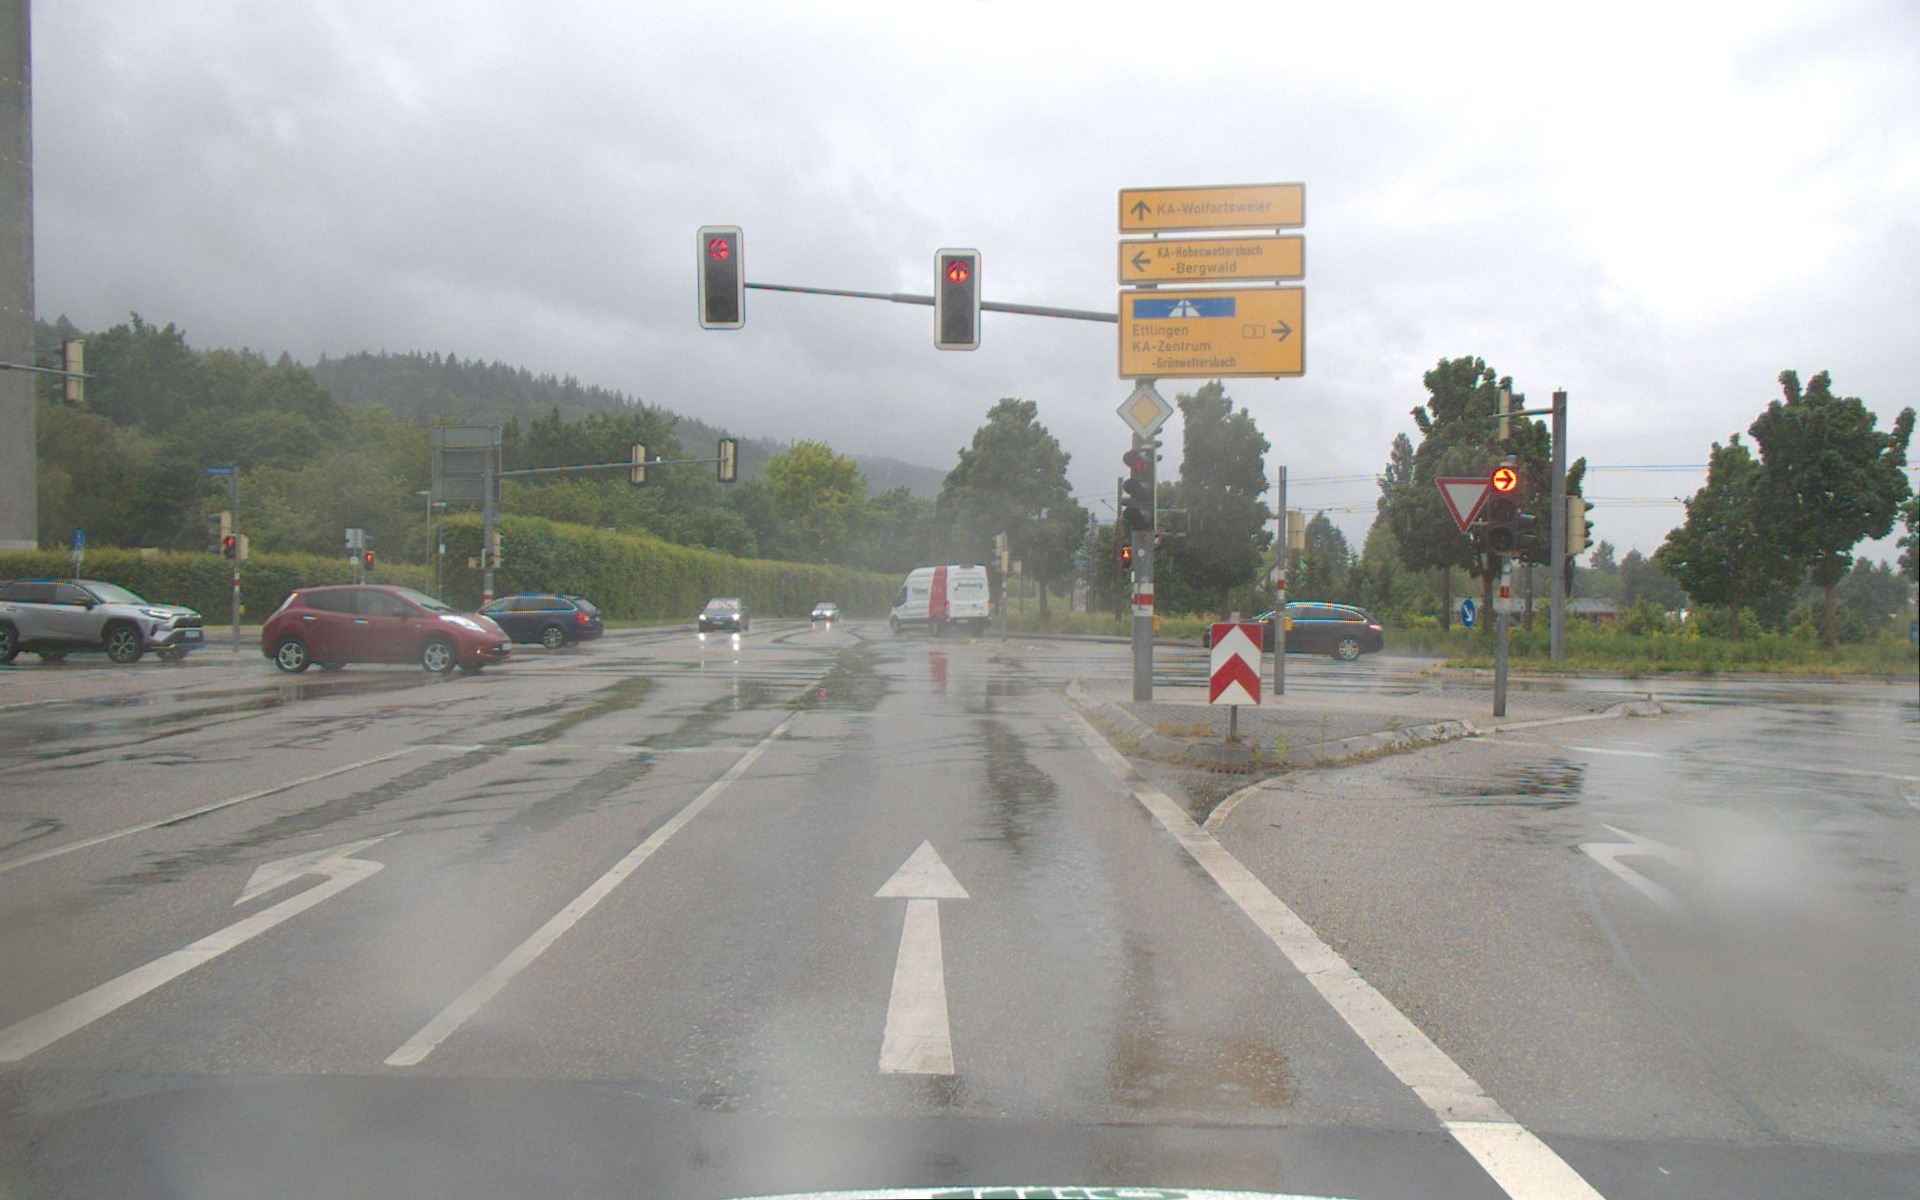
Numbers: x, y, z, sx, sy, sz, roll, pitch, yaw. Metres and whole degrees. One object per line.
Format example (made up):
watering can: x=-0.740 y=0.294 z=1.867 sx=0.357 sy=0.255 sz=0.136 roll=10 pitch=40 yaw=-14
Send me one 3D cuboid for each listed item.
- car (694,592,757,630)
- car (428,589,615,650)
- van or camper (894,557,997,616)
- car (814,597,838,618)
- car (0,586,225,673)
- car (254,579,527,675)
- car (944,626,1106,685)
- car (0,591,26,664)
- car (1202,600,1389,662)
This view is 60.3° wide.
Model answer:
car: x=-10.259 y=0.461 z=72.573 sx=1.839 sy=1.601 sz=4.646 roll=-1 pitch=0 yaw=3
car: x=-11.820 y=0.509 z=44.770 sx=4.573 sy=1.580 sz=1.823 roll=0 pitch=0 yaw=0
van or camper: x=-0.620 y=-0.544 z=65.323 sx=2.129 sy=2.207 sz=4.821 roll=1 pitch=1 yaw=-28
car: x=-9.893 y=0.552 z=122.309 sx=1.527 sy=1.507 sz=3.360 roll=1 pitch=0 yaw=-2
car: x=-17.699 y=0.567 z=33.863 sx=4.431 sy=1.607 sz=1.914 roll=2 pitch=0 yaw=6
car: x=-10.176 y=0.465 z=29.714 sx=4.283 sy=1.607 sz=1.733 roll=1 pitch=0 yaw=5
car: x=1.874 y=1.577 z=47.523 sx=4.572 sy=1.580 sz=1.823 roll=0 pitch=0 yaw=2
car: x=-28.104 y=0.731 z=44.712 sx=4.582 sy=1.949 sz=1.912 roll=0 pitch=0 yaw=-8
car: x=8.771 y=0.795 z=43.512 sx=4.572 sy=1.580 sz=1.823 roll=0 pitch=0 yaw=2
